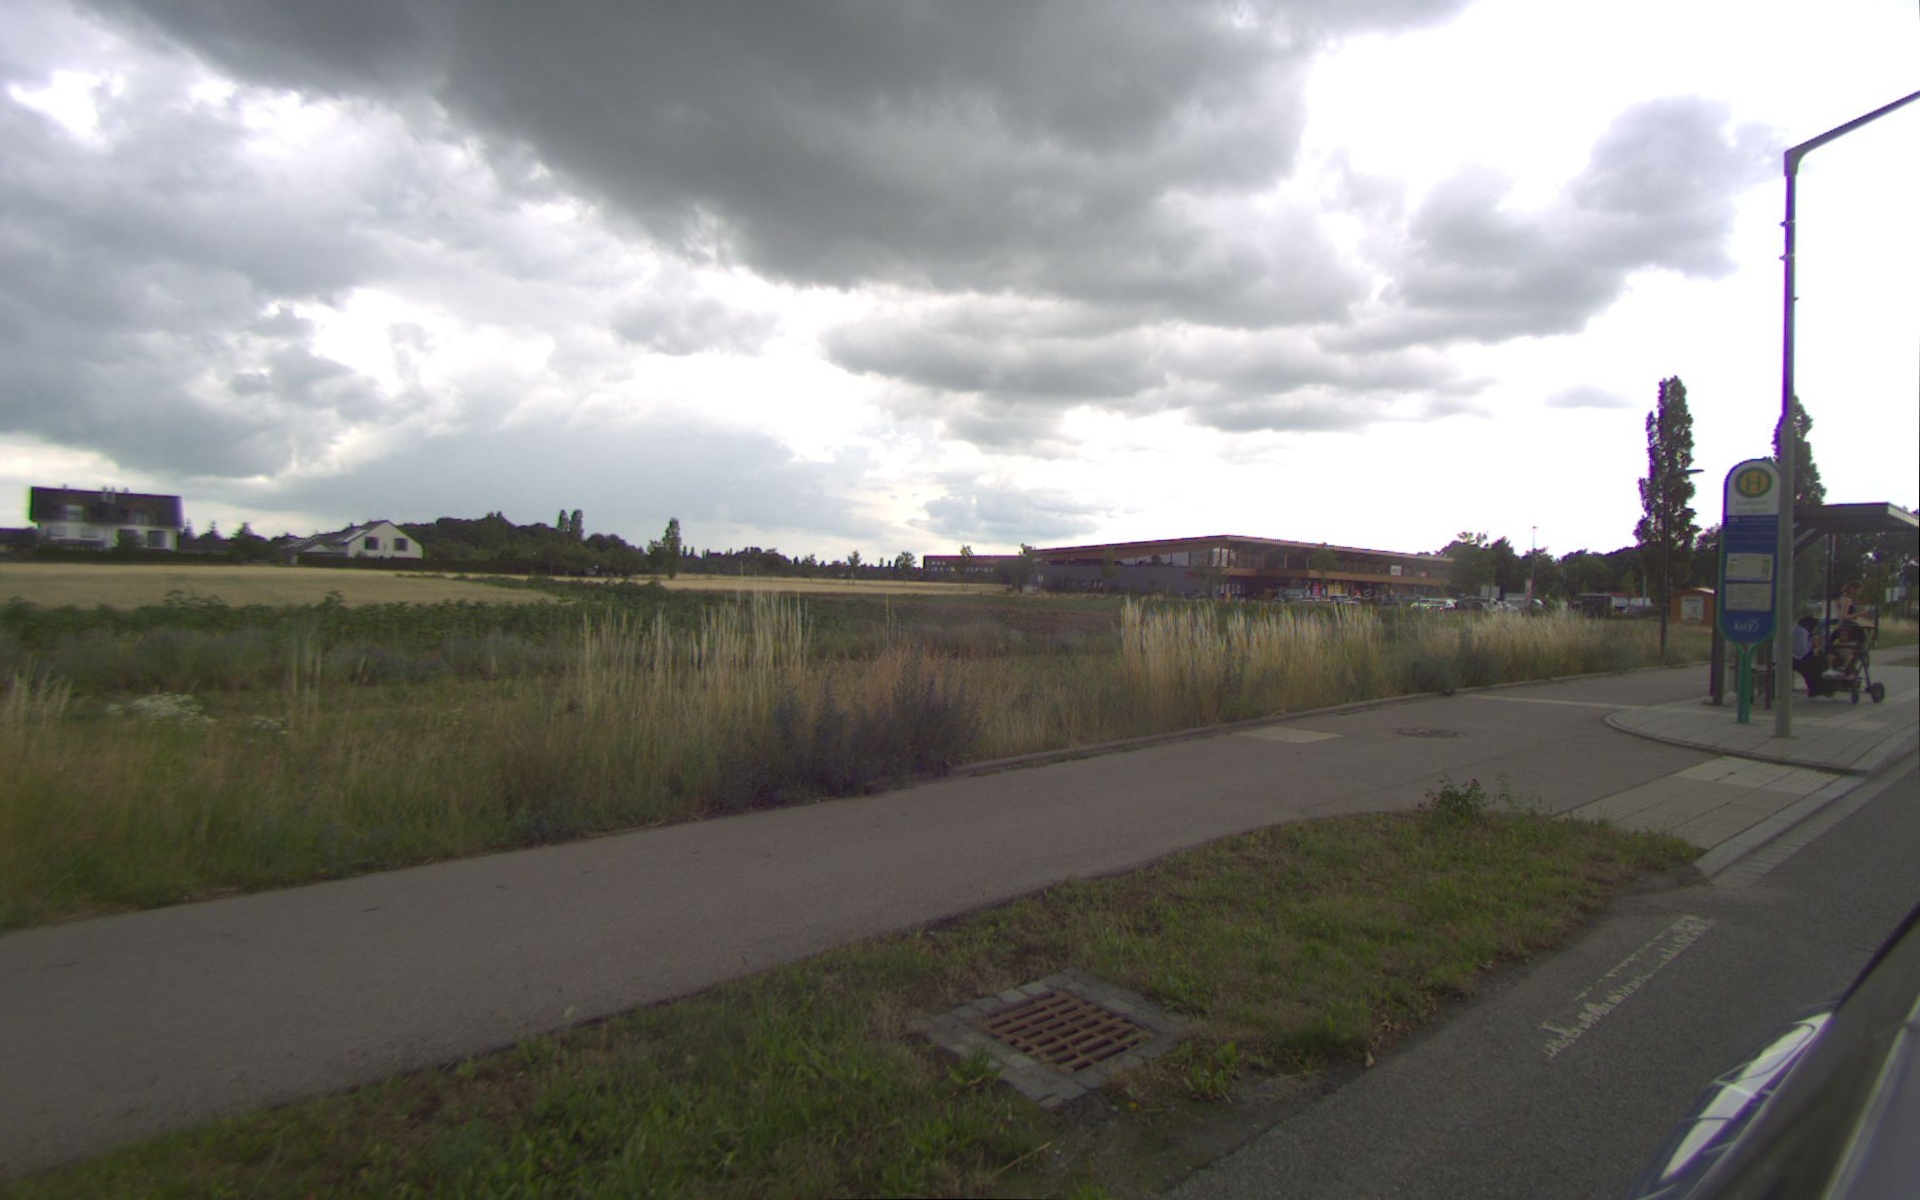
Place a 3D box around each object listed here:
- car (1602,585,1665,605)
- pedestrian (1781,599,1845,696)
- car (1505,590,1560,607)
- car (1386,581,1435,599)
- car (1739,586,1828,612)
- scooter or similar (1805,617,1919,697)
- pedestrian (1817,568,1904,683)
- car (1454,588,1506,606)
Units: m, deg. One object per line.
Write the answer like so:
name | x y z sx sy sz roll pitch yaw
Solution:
car | 73.272 -0.544 110.108 5.510 2.039 1.969 0 0 44
pedestrian | 11.997 0.652 14.251 0.663 1.319 0.498 0 -1 38
car | 69.397 -0.189 122.636 5.510 2.039 1.969 0 0 44
car | 51.408 -1.132 115.522 4.840 2.039 1.970 0 0 42
car | 66.465 -0.108 81.735 5.510 2.039 1.969 0 0 44
scooter or similar | 12.549 0.776 14.058 1.039 1.075 0.709 0 0 -3
pedestrian | 14.729 0.402 16.566 0.762 1.815 0.785 0 0 -19
car | 58.015 -0.360 112.980 4.840 2.039 1.970 0 0 42
